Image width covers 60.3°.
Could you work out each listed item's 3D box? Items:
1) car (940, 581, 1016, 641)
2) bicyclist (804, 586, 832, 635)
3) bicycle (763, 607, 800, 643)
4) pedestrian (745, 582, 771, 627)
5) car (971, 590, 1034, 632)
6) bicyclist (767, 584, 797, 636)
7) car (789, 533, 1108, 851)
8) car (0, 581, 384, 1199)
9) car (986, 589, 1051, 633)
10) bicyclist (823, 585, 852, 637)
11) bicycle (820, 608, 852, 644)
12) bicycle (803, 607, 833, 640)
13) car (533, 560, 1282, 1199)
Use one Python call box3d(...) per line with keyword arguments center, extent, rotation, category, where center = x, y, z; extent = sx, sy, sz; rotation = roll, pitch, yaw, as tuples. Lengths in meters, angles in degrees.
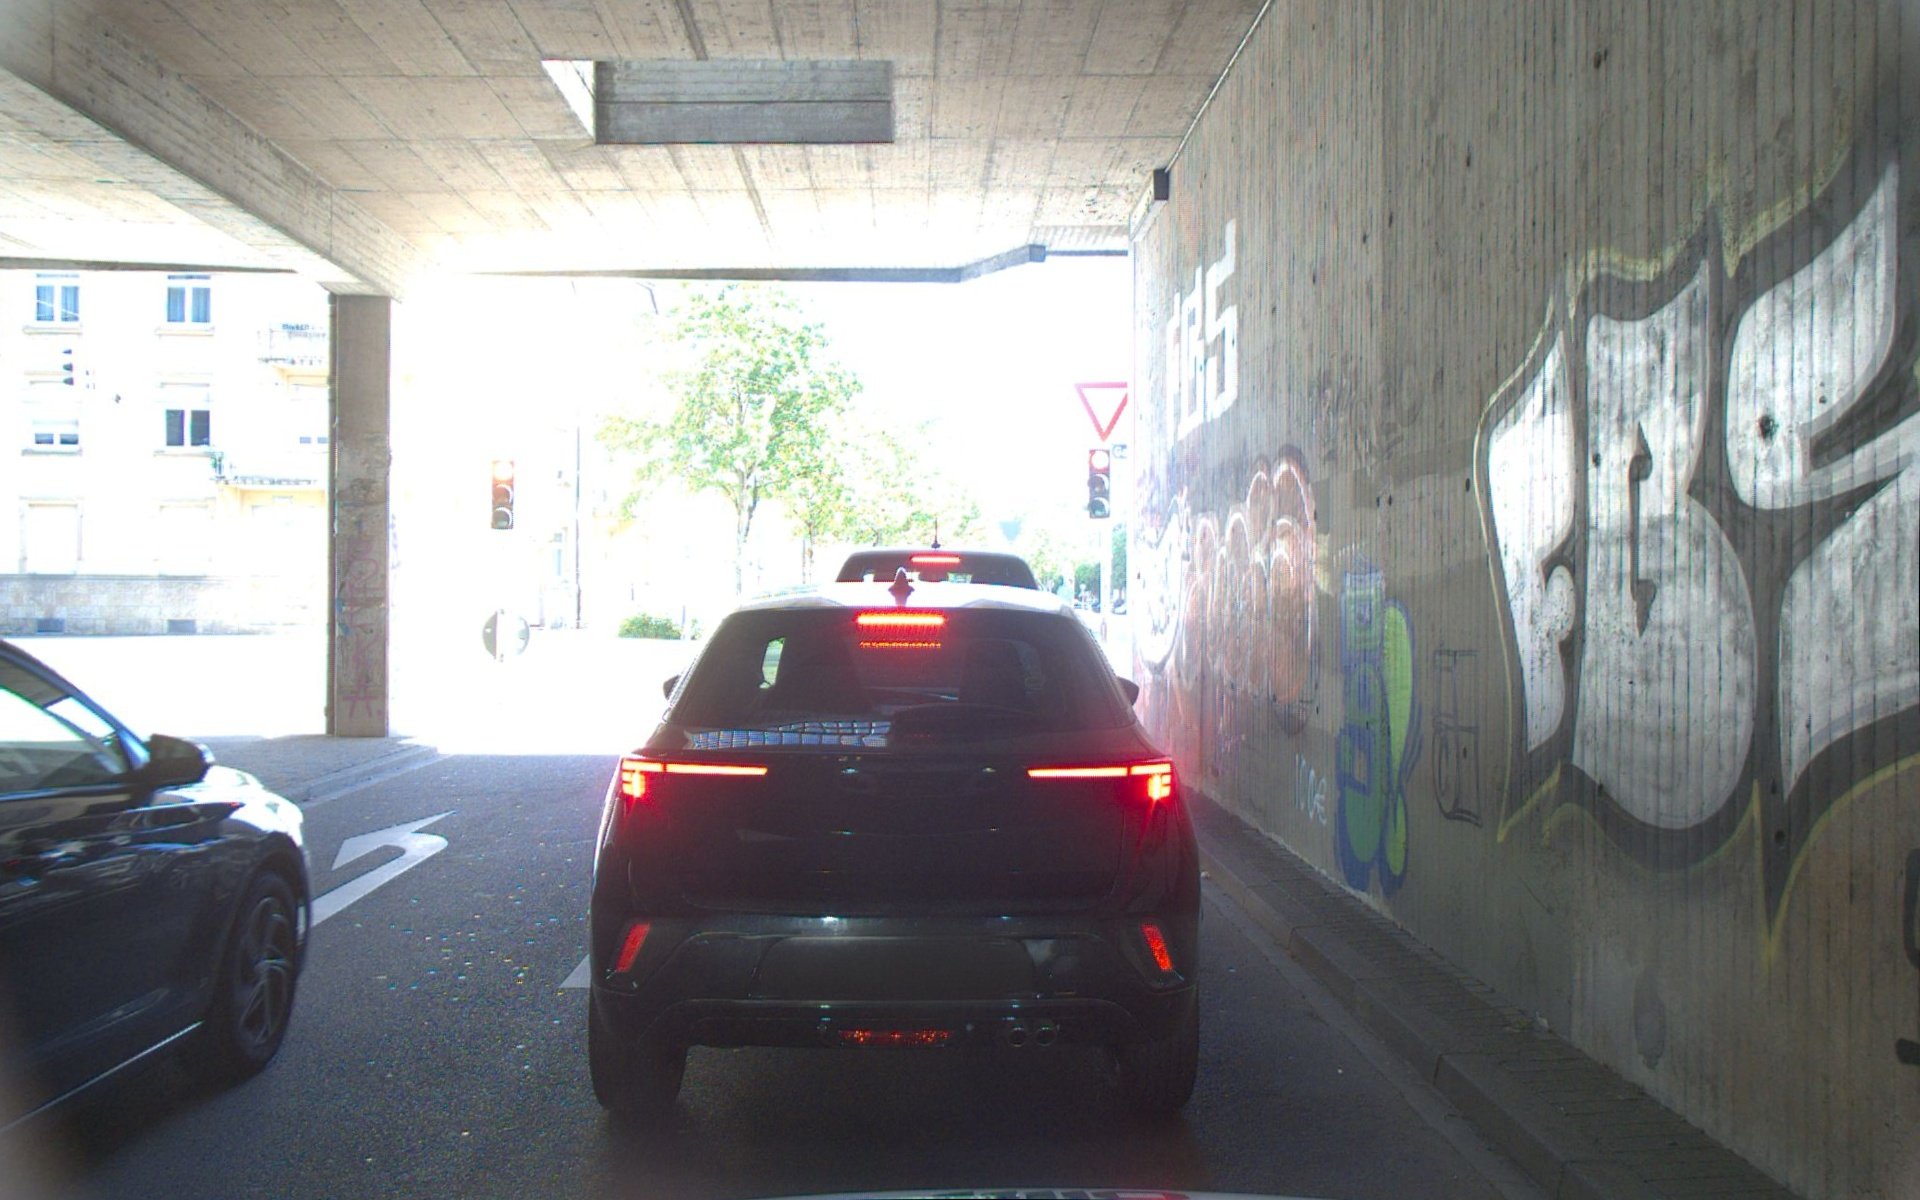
box3d(center=(0.498, 0.337, 44.195), extent=(1.927, 1.523, 3.896), rotation=(0, -1, 1), category="car")
box3d(center=(-4.746, 0.338, 55.278), extent=(0.713, 1.609, 0.815), rotation=(1, -1, 9), category="bicyclist")
box3d(center=(-5.555, 0.774, 51.438), extent=(0.716, 1.086, 1.690), rotation=(1, 0, 9), category="bicycle")
box3d(center=(-9.396, 0.210, 77.052), extent=(0.971, 2.049, 1.089), rotation=(0, 0, 7), category="pedestrian")
box3d(center=(1.624, 0.440, 62.232), extent=(1.926, 1.523, 3.899), rotation=(0, -1, 8), category="car")
box3d(center=(-5.537, 0.309, 51.472), extent=(0.713, 1.609, 0.815), rotation=(1, -1, 9), category="bicyclist")
box3d(center=(-0.095, 0.537, 11.901), extent=(1.906, 1.892, 3.963), rotation=(0, 0, -1), category="car")
box3d(center=(-2.785, 0.697, 3.517), extent=(1.744, 1.472, 4.177), rotation=(2, 0, -2), category="car")
box3d(center=(2.469, 0.481, 69.054), extent=(2.173, 1.749, 4.463), rotation=(0, -1, 9), category="car")
box3d(center=(-3.862, 0.339, 52.021), extent=(0.713, 1.609, 0.815), rotation=(1, -1, 9), category="bicyclist")
box3d(center=(-3.895, 0.804, 52.014), extent=(0.612, 1.086, 1.690), rotation=(1, 0, 9), category="bicycle")
box3d(center=(-4.741, 0.790, 55.390), extent=(0.612, 1.086, 1.690), rotation=(1, 0, 9), category="bicycle")
box3d(center=(-0.154, 0.677, 6.076), extent=(1.844, 1.565, 3.963), rotation=(0, 0, -1), category="car")
